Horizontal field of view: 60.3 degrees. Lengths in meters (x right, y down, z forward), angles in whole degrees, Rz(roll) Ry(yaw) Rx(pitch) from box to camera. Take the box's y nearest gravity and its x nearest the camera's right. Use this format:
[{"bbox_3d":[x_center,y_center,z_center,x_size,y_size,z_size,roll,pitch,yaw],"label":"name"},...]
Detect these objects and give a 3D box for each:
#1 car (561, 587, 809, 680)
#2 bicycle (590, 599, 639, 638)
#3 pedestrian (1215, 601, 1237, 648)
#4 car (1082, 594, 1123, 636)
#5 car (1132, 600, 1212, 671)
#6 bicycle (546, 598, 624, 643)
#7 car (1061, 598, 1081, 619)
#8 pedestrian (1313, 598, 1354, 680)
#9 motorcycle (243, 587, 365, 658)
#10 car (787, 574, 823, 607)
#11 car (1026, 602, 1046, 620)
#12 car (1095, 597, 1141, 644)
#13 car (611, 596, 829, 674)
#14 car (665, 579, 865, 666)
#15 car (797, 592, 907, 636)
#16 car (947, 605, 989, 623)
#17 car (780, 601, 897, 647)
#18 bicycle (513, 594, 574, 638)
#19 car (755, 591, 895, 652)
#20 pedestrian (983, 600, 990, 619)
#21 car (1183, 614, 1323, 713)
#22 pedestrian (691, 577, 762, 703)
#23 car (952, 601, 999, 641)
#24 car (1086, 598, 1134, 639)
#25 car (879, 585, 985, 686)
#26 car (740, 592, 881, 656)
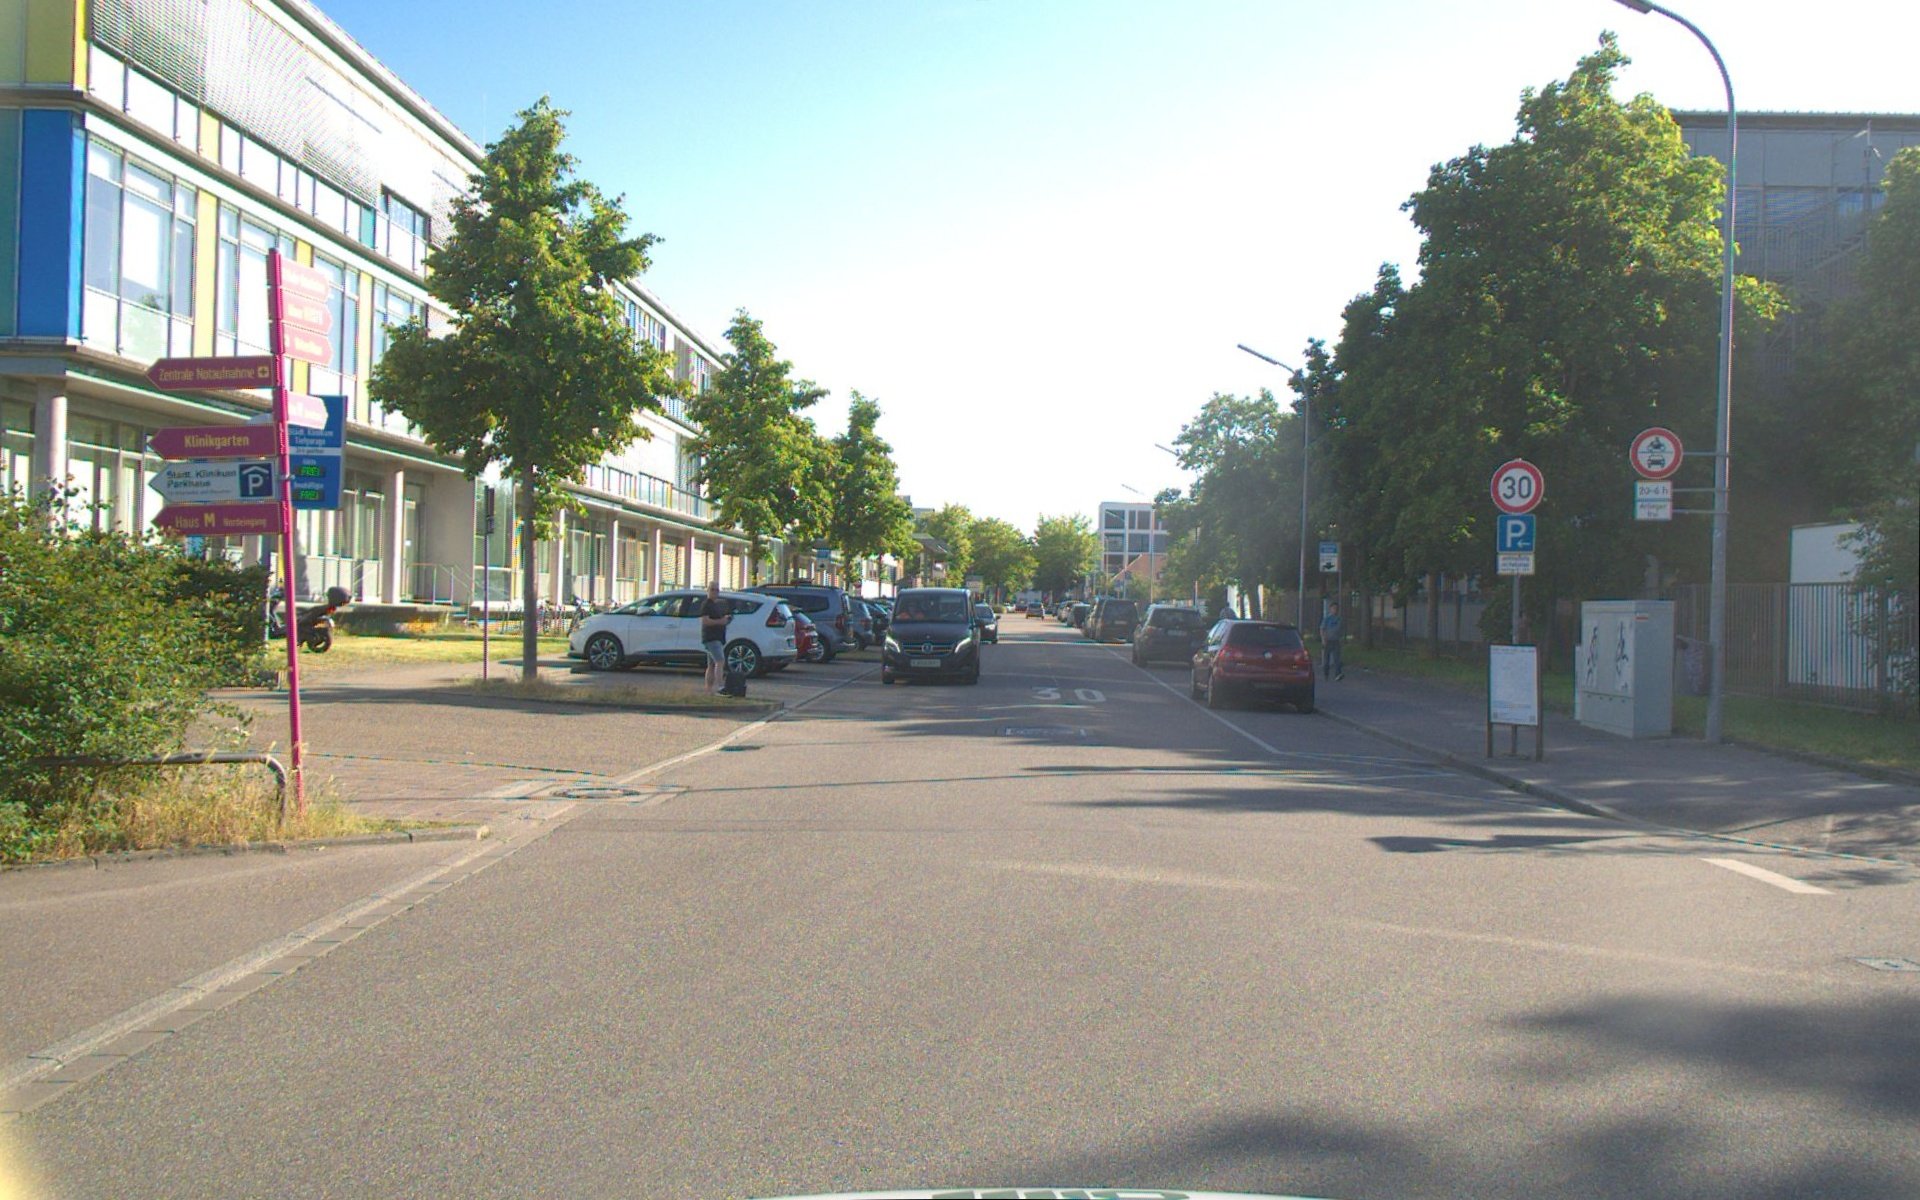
[{"bbox_3d":[-5.457,0.655,33.103,4.514,1.680,1.869,2,-1,6],"label":"car"},{"bbox_3d":[-10.464,0.551,50.199,0.873,1.131,1.891,3,1,6],"label":"bicycle"},{"bbox_3d":[9.758,0.901,60.688,0.684,1.690,0.752,-1,0,2],"label":"pedestrian"},{"bbox_3d":[7.077,0.737,82.293,1.835,2.013,4.001,0,0,2],"label":"car"},{"bbox_3d":[5.686,0.908,44.857,1.774,1.695,4.594,3,1,3],"label":"car"},{"bbox_3d":[-10.506,0.575,46.407,0.851,1.173,2.372,3,-1,23],"label":"bicycle"},{"bbox_3d":[8.777,0.678,130.912,1.406,1.588,3.043,1,0,2],"label":"car"},{"bbox_3d":[8.294,0.860,36.765,0.702,1.789,0.885,-1,0,3],"label":"pedestrian"},{"bbox_3d":[-12.119,0.413,30.580,2.001,1.169,0.499,4,0,0],"label":"motorcycle"},{"bbox_3d":[-10.586,-0.619,113.194,1.952,2.049,4.001,1,-1,2],"label":"car"},{"bbox_3d":[6.939,0.979,150.904,1.707,1.570,4.001,2,0,2],"label":"car"},{"bbox_3d":[6.638,0.845,69.808,1.697,1.862,3.906,1,0,3],"label":"car"},{"bbox_3d":[-5.138,0.743,35.727,4.341,1.527,1.828,2,-1,2],"label":"car"},{"bbox_3d":[-4.816,0.535,41.369,4.644,1.897,1.828,3,0,2],"label":"car"},{"bbox_3d":[-4.149,0.531,64.115,4.129,1.487,1.871,3,0,-2],"label":"car"},{"bbox_3d":[0.778,1.358,157.633,3.904,1.546,2.000,2,-1,2],"label":"car"},{"bbox_3d":[-4.159,0.808,57.145,3.906,1.382,1.742,3,0,-2],"label":"car"},{"bbox_3d":[-11.826,0.468,47.043,0.850,1.173,1.994,3,-1,12],"label":"bicycle"},{"bbox_3d":[-4.136,0.660,51.302,4.161,1.640,2.047,3,0,-2],"label":"car"},{"bbox_3d":[2.326,0.853,146.037,0.606,1.652,0.716,0,0,2],"label":"pedestrian"},{"bbox_3d":[5.010,1.033,28.825,1.684,1.480,4.653,2,0,2],"label":"car"},{"bbox_3d":[-3.611,0.608,25.663,0.840,1.874,0.826,3,0,4],"label":"pedestrian"},{"bbox_3d":[0.632,0.785,63.322,1.668,1.476,4.087,0,0,2],"label":"car"},{"bbox_3d":[6.877,0.823,76.046,1.952,1.855,4.199,0,0,2],"label":"car"},{"bbox_3d":[-0.493,0.684,34.268,1.914,1.900,5.256,0,0,2],"label":"car"},{"bbox_3d":[-4.325,0.689,48.351,3.906,1.635,1.871,3,0,-2],"label":"car"}]
